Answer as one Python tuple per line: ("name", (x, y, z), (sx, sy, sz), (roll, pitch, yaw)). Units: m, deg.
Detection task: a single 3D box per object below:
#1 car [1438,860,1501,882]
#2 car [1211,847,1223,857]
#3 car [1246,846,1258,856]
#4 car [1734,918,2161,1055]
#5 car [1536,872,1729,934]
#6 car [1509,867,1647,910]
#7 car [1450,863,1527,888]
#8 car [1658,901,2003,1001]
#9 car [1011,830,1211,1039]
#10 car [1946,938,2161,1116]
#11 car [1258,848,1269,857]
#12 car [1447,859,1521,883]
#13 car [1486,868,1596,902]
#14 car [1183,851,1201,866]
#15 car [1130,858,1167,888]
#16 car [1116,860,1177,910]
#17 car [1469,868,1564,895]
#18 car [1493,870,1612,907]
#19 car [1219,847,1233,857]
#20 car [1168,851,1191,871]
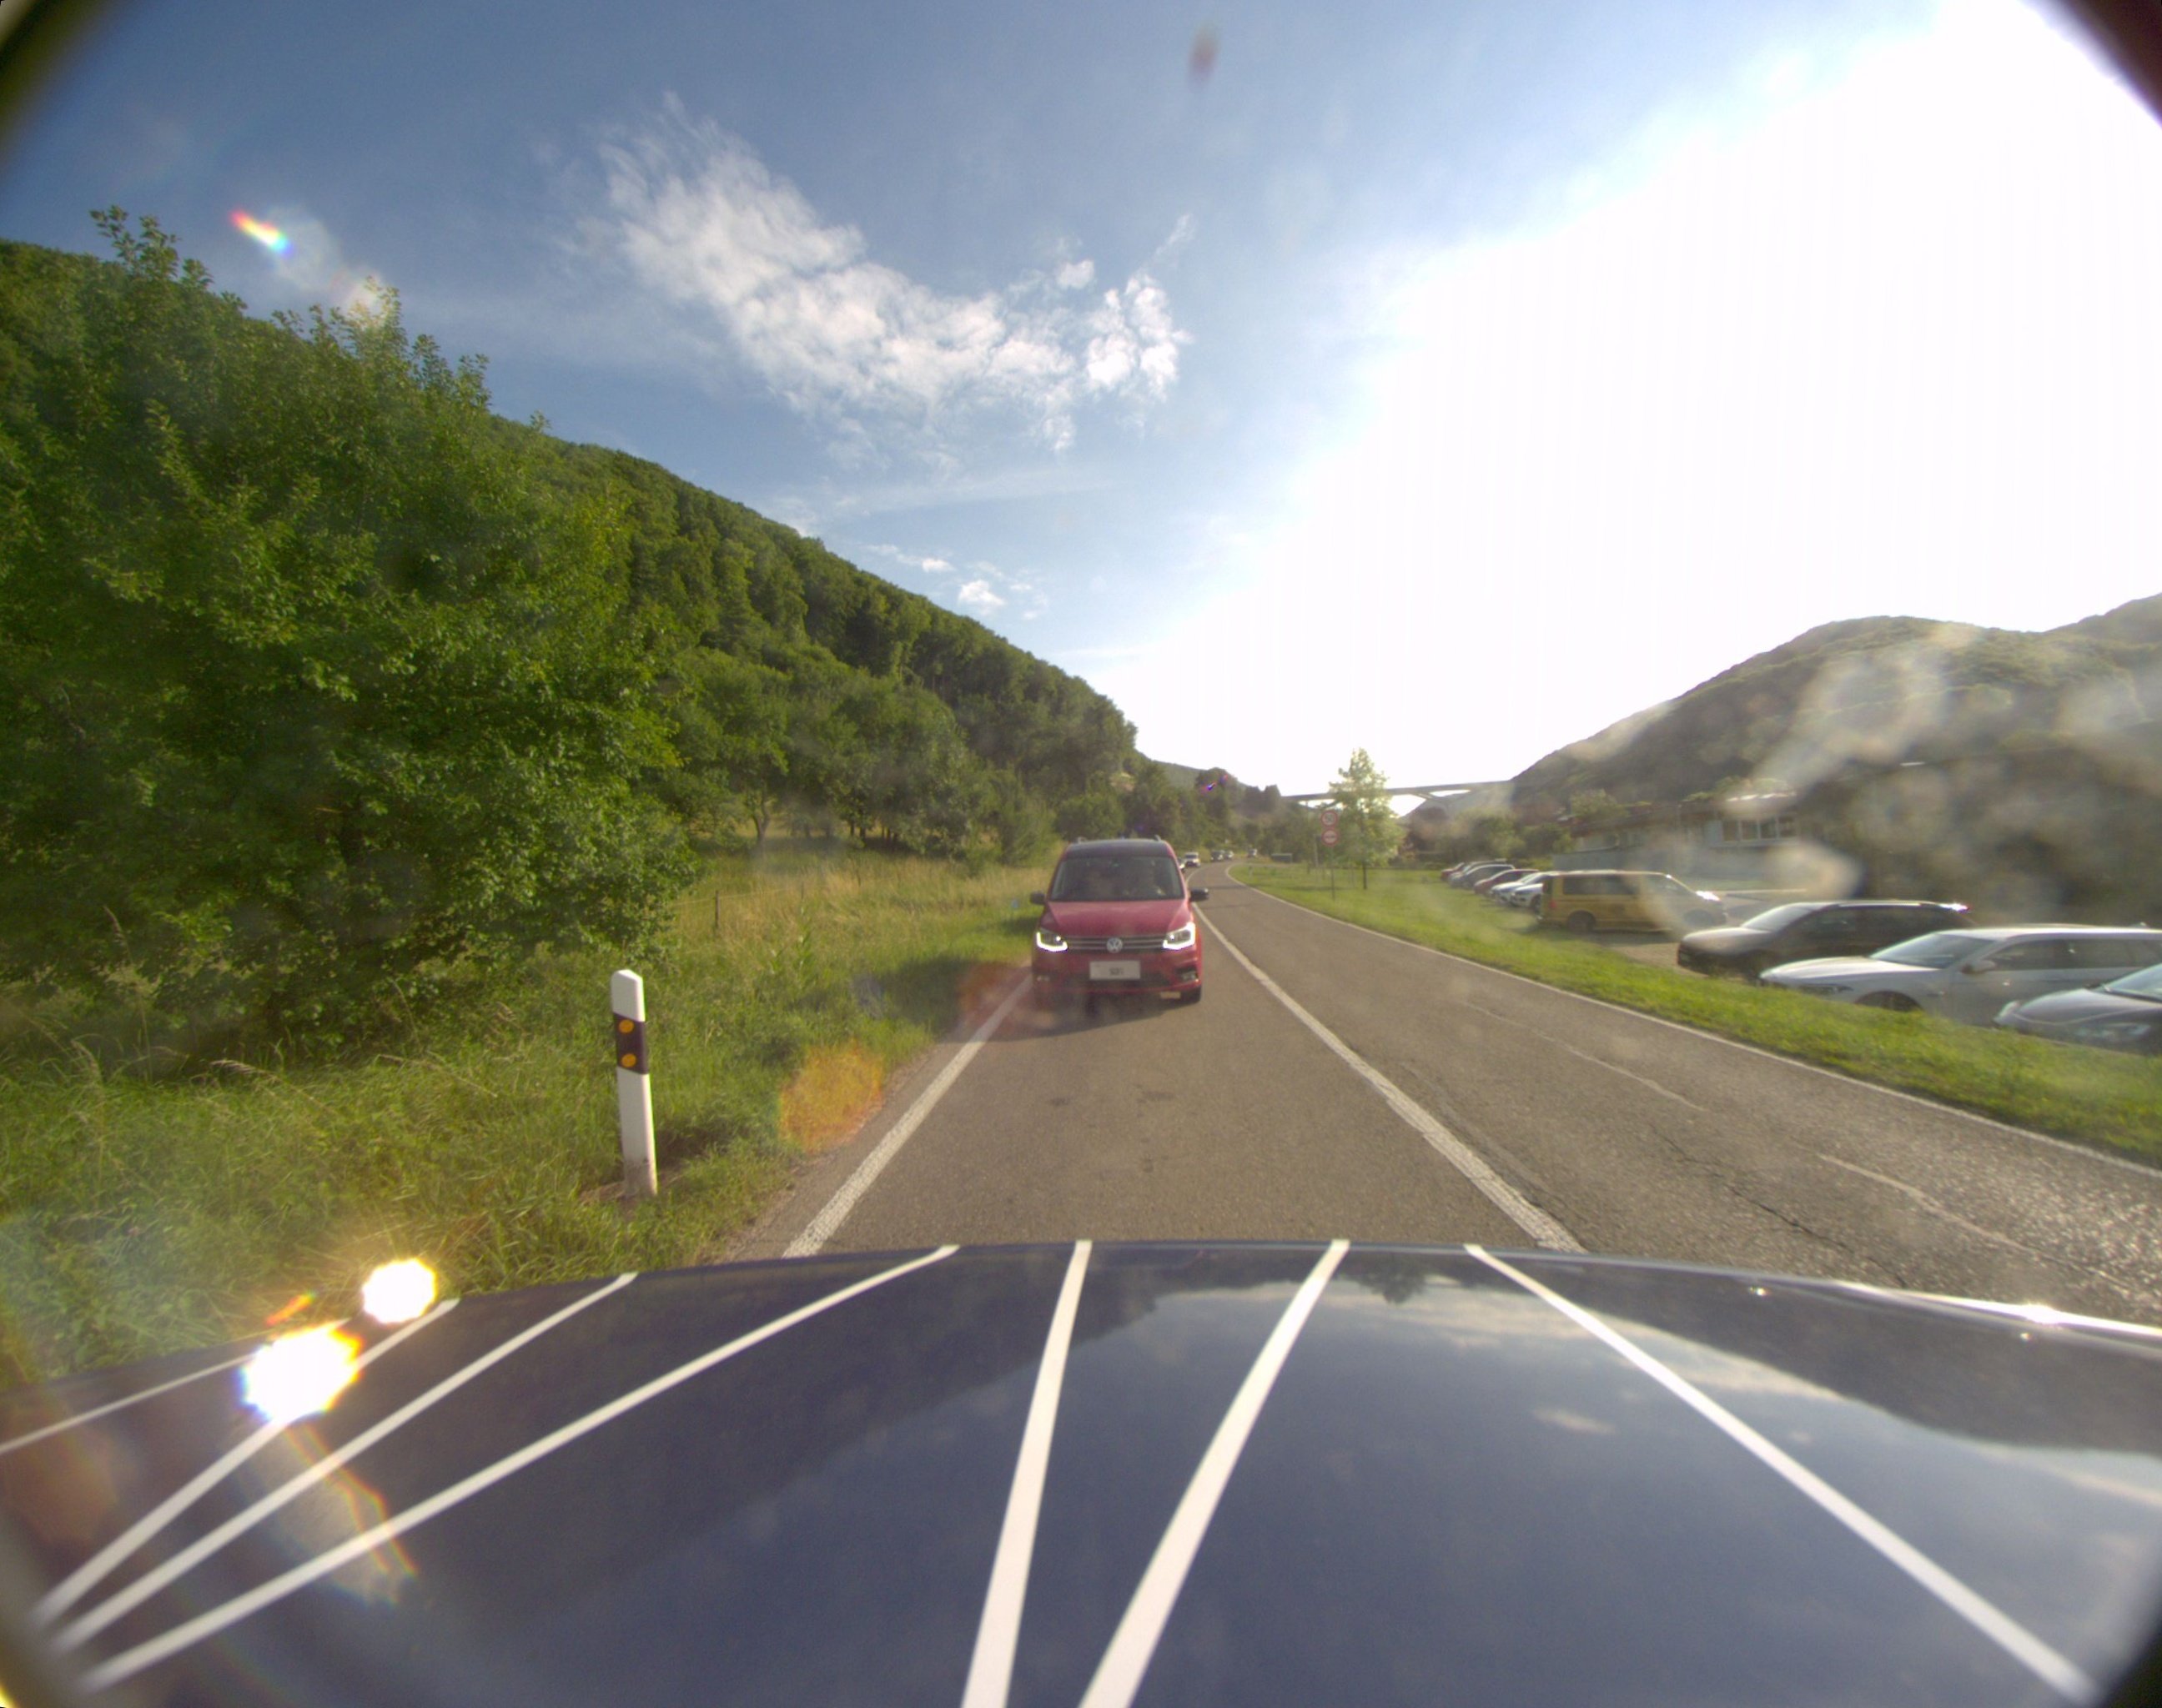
("car", (31.724, 1.376, 62.187), (4.436, 1.709, 2.003), (-1, 0, 21))
("car", (21.781, -0.287, 121.714), (1.677, 1.637, 3.350), (-2, -1, 15))
("car", (36.982, -0.666, 164.382), (1.908, 1.893, 4.005), (-2, 1, 21))
("car", (12.382, 1.731, 10.556), (4.645, 1.488, 1.915), (-1, 0, 18))
("car", (17.385, 1.495, 24.276), (4.652, 1.802, 2.003), (-1, 0, 22))
("car", (20.745, 1.423, 31.942), (4.544, 1.691, 2.003), (-1, 0, 22))
("car", (28.195, 1.489, 52.702), (4.437, 1.573, 2.003), (-2, -1, 21))
("car", (14.110, 1.823, 14.653), (4.288, 1.628, 1.915), (-3, -1, 17))
("car", (0.394, 0.758, 9.009), (1.746, 1.848, 4.350), (-2, -1, 3))
("car", (12.079, 1.755, 7.690), (3.991, 1.526, 1.836), (-1, 0, 21))
("car", (42.365, -0.350, 176.317), (1.909, 1.893, 4.005), (-2, 1, 18))
("car", (30.197, 1.254, 57.078), (4.664, 1.752, 2.003), (-1, 0, 21))
("car", (23.132, 1.549, 38.394), (4.437, 1.573, 2.003), (-1, 0, 21))
("car", (13.327, 0.520, 90.989), (1.797, 1.725, 4.288), (-2, -1, 13))
("car", (3.540, 0.980, 40.246), (1.798, 1.464, 4.285), (-2, -1, 3))
("car", (2.116, 0.961, 25.174), (1.798, 1.464, 4.285), (-2, -1, 3))
("car", (24.649, 1.558, 43.206), (4.436, 1.443, 2.003), (-1, 0, 23))
("car", (21.778, 1.580, 35.298), (4.436, 1.577, 2.003), (-1, 0, 22))
("car", (26.019, -0.298, 135.978), (1.996, 1.706, 4.005), (-2, -1, 16))
("car", (8.776, 0.619, 67.704), (1.911, 1.675, 4.003), (-1, -1, 8))
